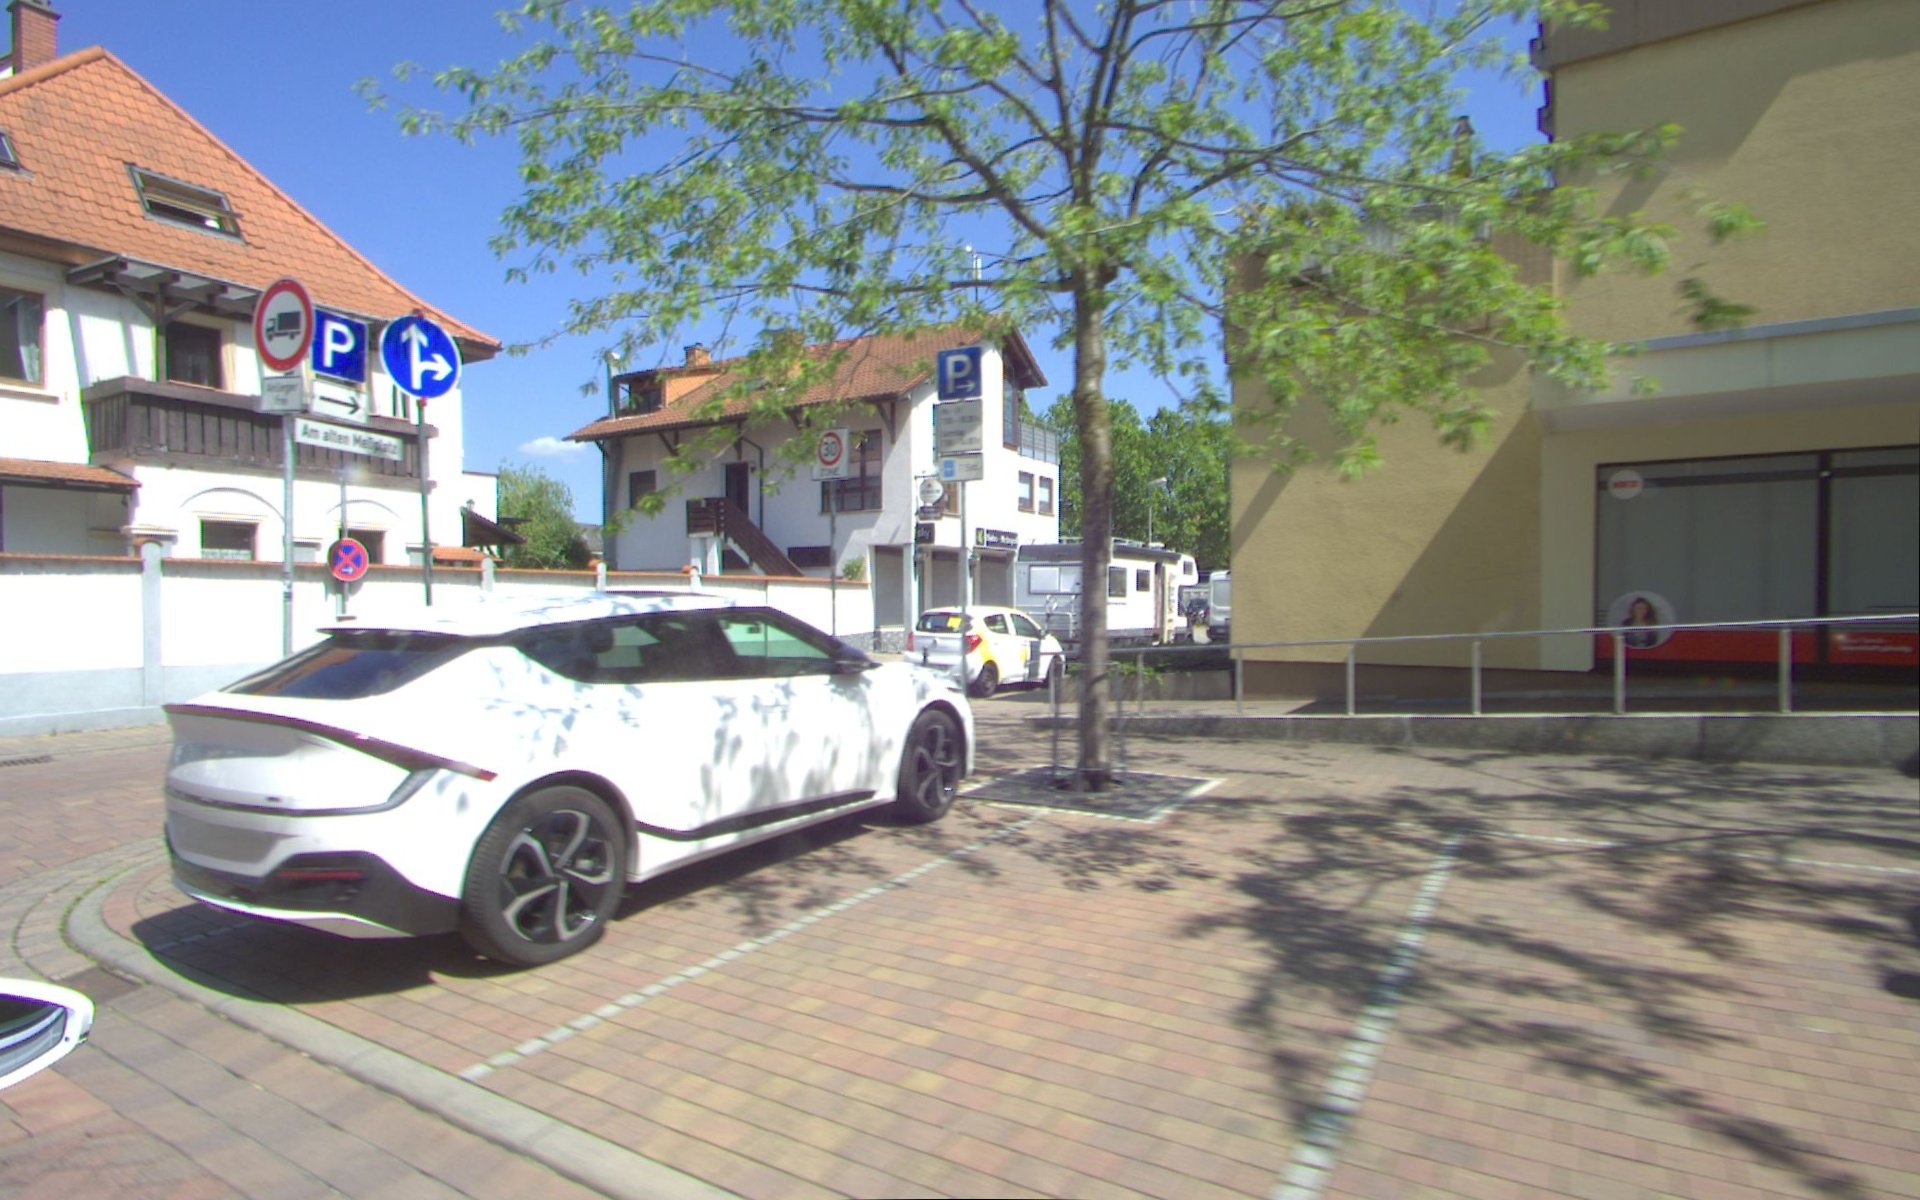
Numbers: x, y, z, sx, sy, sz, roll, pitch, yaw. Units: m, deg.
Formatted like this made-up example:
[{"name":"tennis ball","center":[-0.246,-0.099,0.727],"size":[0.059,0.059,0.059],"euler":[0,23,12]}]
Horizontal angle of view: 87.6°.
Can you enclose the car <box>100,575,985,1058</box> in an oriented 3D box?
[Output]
[{"name":"car","center":[-1.735,0.682,5.692],"size":[1.763,1.597,4.430],"euler":[0,2,32]}]

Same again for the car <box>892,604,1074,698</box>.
[{"name":"car","center":[0.508,0.814,17.885],"size":[1.631,1.471,3.607],"euler":[1,1,32]}]

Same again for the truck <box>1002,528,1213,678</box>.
[{"name":"truck","center":[3.686,0.084,23.665],"size":[2.509,3.045,6.370],"euler":[0,0,33]}]

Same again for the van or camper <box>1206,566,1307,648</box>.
[{"name":"van or camper","center":[9.794,0.226,32.847],"size":[2.039,2.511,4.649],"euler":[0,0,32]}]
